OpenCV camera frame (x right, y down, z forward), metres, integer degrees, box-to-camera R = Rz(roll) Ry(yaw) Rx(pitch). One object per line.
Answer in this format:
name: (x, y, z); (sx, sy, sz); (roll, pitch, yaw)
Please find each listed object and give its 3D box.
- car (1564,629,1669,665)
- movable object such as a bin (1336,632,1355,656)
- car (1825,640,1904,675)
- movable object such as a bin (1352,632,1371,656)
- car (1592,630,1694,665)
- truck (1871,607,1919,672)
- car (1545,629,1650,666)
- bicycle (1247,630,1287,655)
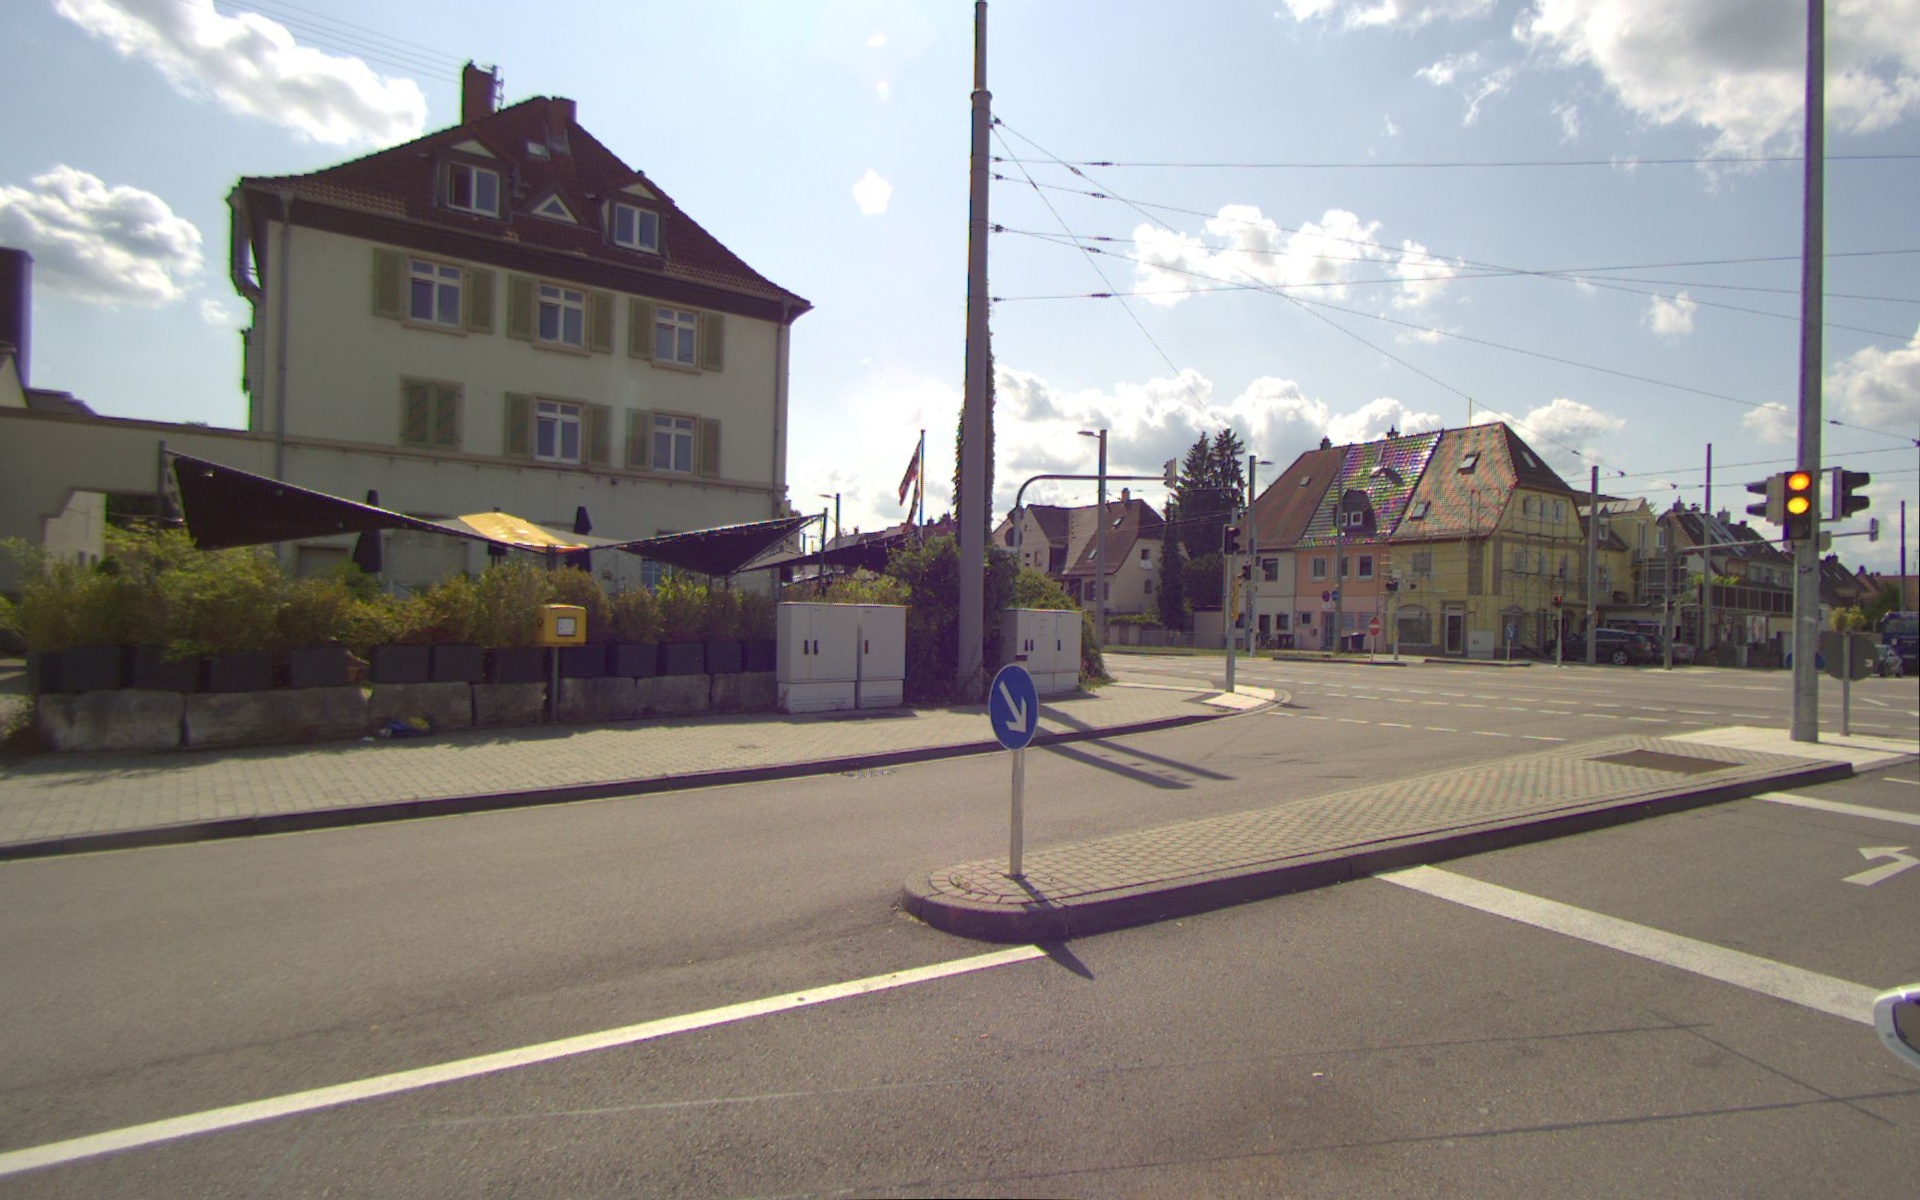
car: (32.808, 2.319, 50.301); (1.493, 1.513, 4.103); (2, 0, -37)
movable object such as a bin: (20.902, 2.383, 54.470); (0.674, 1.277, 0.677); (2, 0, -33)
car: (41.591, 2.635, 46.184); (4.291, 1.506, 1.816); (3, -2, -35)
movable object such as a bin: (22.029, 2.420, 55.157); (0.674, 1.277, 0.677); (2, 0, -33)
car: (35.097, 2.431, 51.694); (1.422, 1.513, 4.103); (2, 0, -37)
truck: (50.852, 2.144, 53.153); (7.516, 3.230, 2.747); (3, -2, -38)
car: (30.749, 2.252, 48.562); (1.168, 1.513, 4.103); (2, 0, -37)
bicycle: (18.061, 2.504, 59.087); (2.428, 1.374, 0.770); (2, 0, -29)
